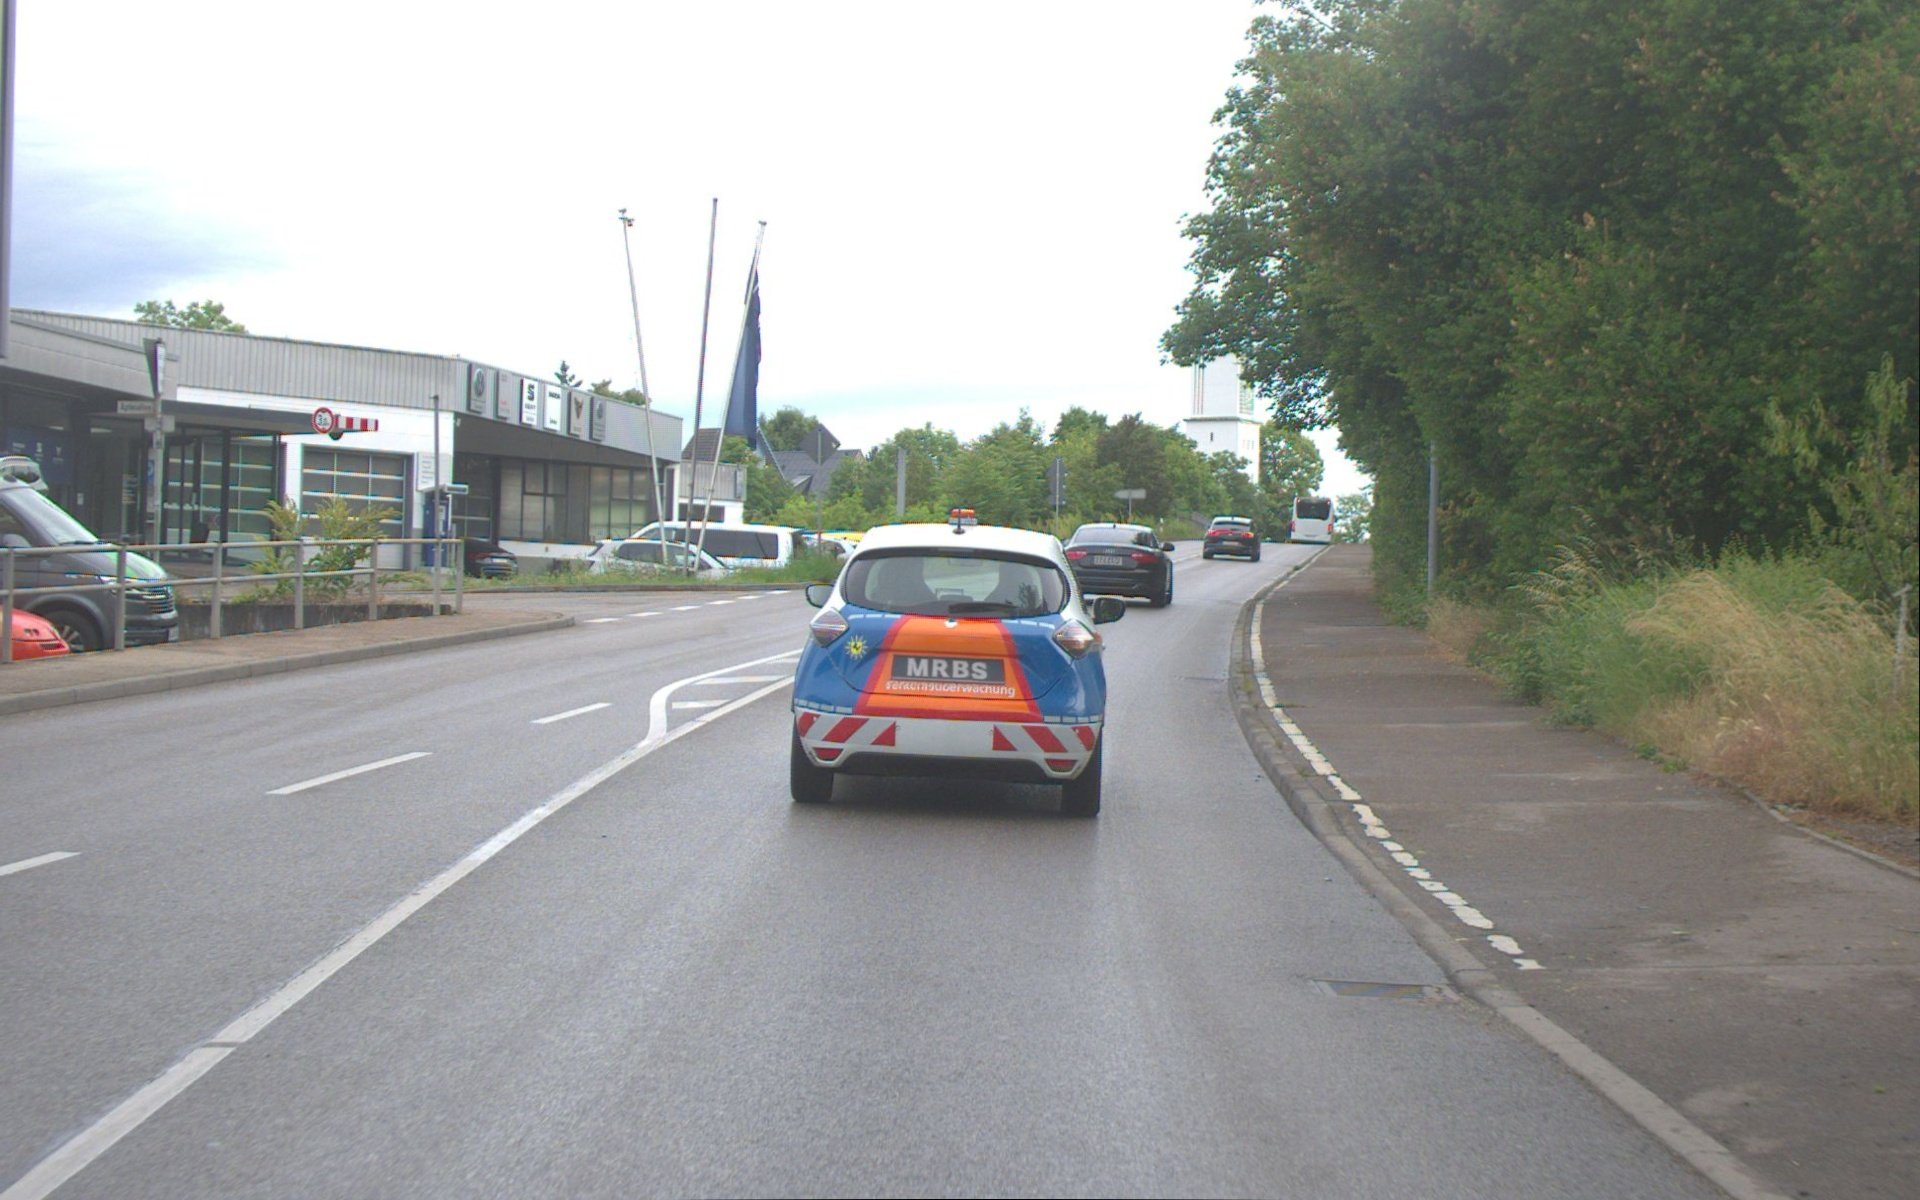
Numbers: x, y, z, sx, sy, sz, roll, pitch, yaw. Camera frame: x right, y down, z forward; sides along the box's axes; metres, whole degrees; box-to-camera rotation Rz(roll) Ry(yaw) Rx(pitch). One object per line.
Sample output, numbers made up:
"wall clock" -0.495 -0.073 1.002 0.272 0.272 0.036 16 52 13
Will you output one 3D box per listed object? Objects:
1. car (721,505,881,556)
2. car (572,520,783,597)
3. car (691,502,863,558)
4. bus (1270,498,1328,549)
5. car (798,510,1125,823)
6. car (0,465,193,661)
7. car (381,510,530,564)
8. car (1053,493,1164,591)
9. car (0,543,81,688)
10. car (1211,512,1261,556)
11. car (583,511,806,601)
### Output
"car" -4.191 -1.848 91.087 4.063 1.286 1.804 1 2 3
"car" -5.733 -0.849 70.060 4.010 1.473 1.824 1 2 5
"car" -4.689 -1.816 88.492 4.226 1.364 1.875 1 2 3
"bus" 21.884 -4.899 222.479 2.911 3.159 11.466 0 1 2
"car" 0.088 0.334 19.852 1.657 1.587 3.568 2 0 3
"car" -10.293 -0.398 33.919 5.066 1.864 1.823 1 1 -2
"car" -14.162 -1.778 96.374 4.019 1.411 1.949 2 2 40
"car" 2.502 -0.982 58.195 1.802 1.584 3.563 1 1 2
"car" -10.142 0.109 30.980 4.091 1.263 1.770 1 1 -6
"car" 9.087 -2.167 113.504 1.614 1.402 3.497 1 1 4
"car" -5.585 -0.939 72.534 4.413 1.791 1.934 1 2 5
